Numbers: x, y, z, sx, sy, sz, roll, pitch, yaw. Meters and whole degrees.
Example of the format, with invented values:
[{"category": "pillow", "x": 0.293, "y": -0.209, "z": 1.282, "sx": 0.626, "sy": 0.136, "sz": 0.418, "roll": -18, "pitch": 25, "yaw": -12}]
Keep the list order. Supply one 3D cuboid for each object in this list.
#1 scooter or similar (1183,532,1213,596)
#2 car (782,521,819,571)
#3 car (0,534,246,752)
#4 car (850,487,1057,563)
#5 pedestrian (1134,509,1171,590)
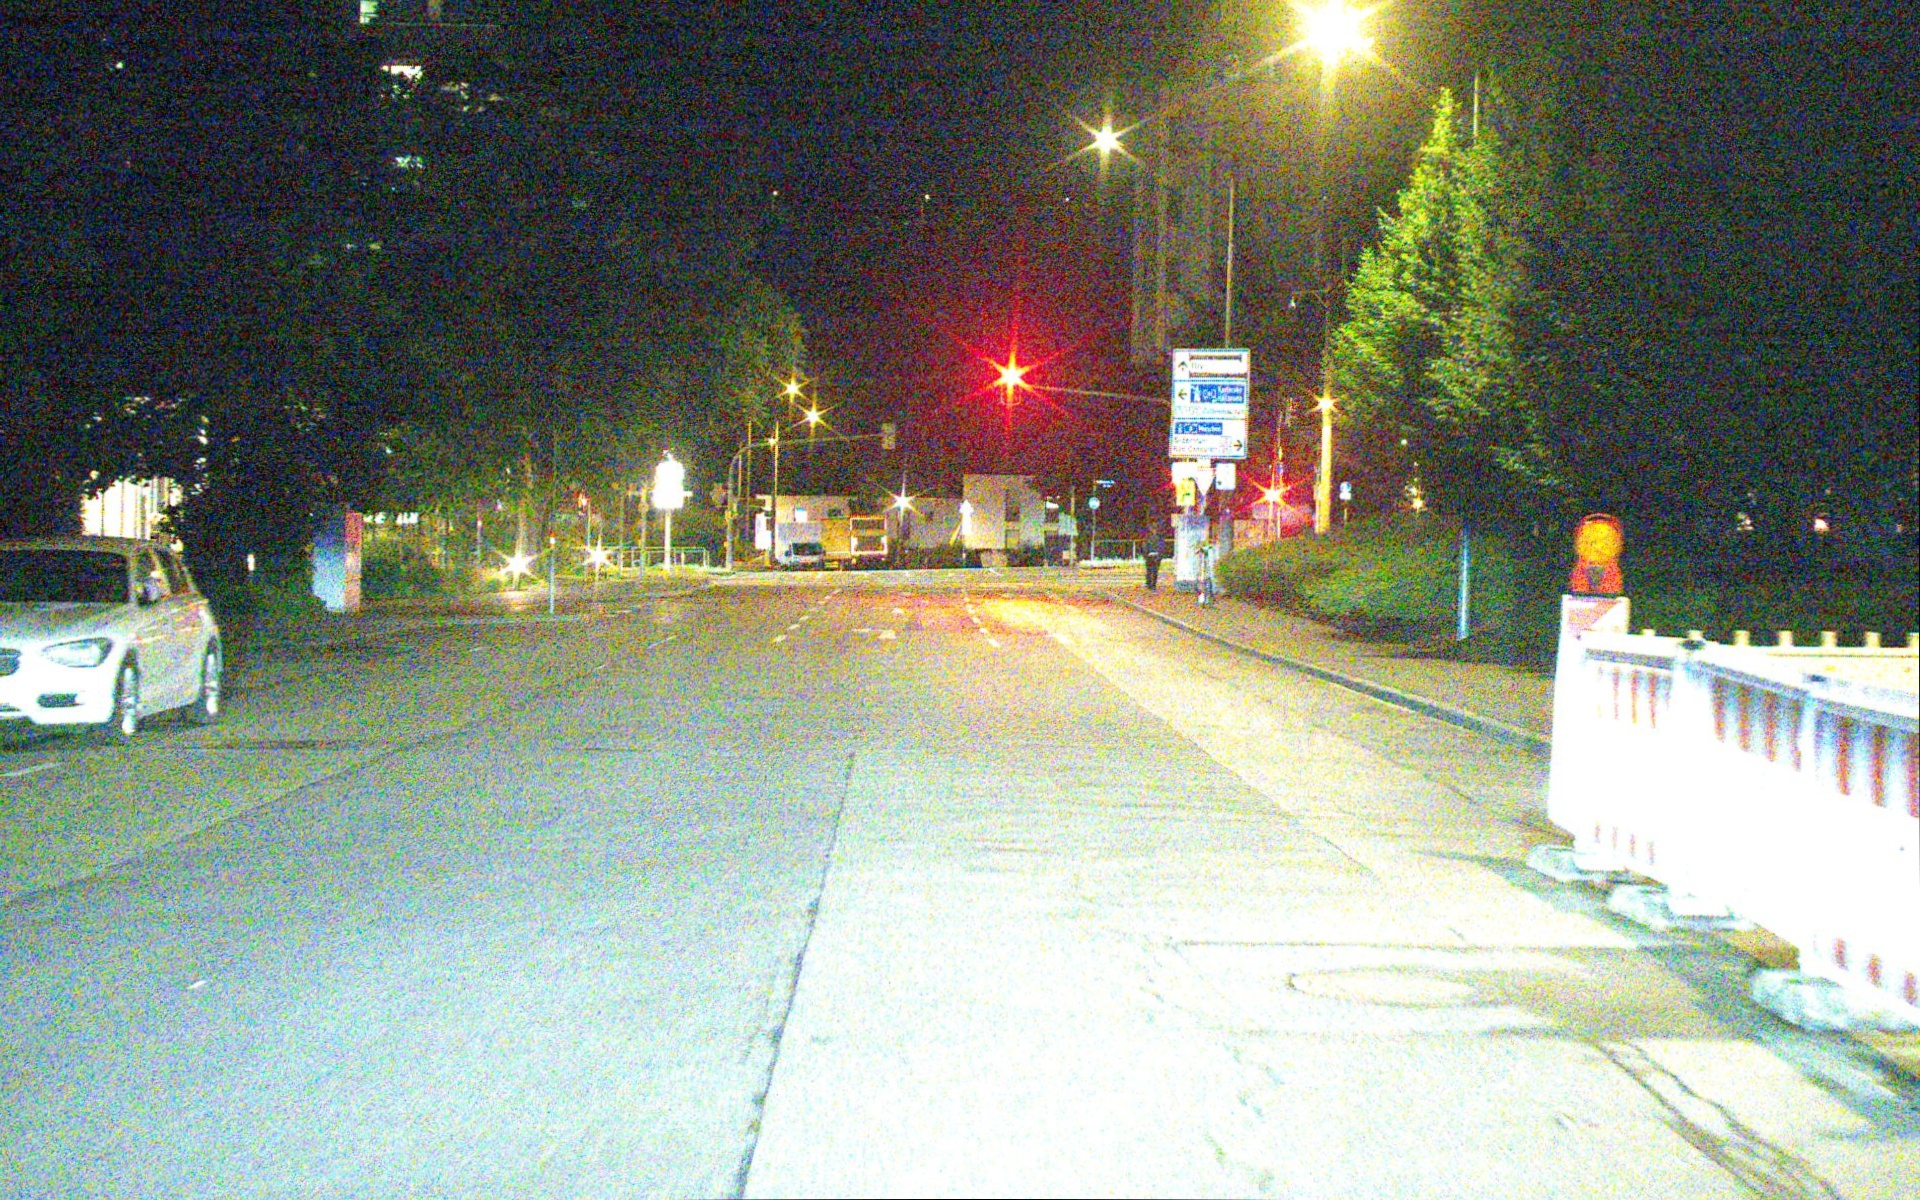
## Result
[{"category": "scooter or similar", "x": 4.802, "y": -0.734, "z": 69.413, "sx": 0.494, "sy": 1.257, "sz": 1.320, "roll": -2, "pitch": 1, "yaw": 1}, {"category": "car", "x": -9.585, "y": -3.237, "z": 206.591, "sx": 1.993, "sy": 2.963, "sz": 4.001, "roll": 0, "pitch": 1, "yaw": -5}, {"category": "car", "x": -6.497, "y": 0.238, "z": 24.439, "sx": 1.911, "sy": 1.399, "sz": 4.338, "roll": 0, "pitch": 1, "yaw": 0}, {"category": "car", "x": -0.436, "y": -4.797, "z": 219.751, "sx": 12.380, "sy": 4.693, "sz": 4.811, "roll": 0, "pitch": 1, "yaw": -14}, {"category": "pedestrian", "x": 4.735, "y": -1.248, "z": 84.656, "sx": 0.737, "sy": 1.975, "sz": 0.626, "roll": 0, "pitch": 1, "yaw": -16}]
